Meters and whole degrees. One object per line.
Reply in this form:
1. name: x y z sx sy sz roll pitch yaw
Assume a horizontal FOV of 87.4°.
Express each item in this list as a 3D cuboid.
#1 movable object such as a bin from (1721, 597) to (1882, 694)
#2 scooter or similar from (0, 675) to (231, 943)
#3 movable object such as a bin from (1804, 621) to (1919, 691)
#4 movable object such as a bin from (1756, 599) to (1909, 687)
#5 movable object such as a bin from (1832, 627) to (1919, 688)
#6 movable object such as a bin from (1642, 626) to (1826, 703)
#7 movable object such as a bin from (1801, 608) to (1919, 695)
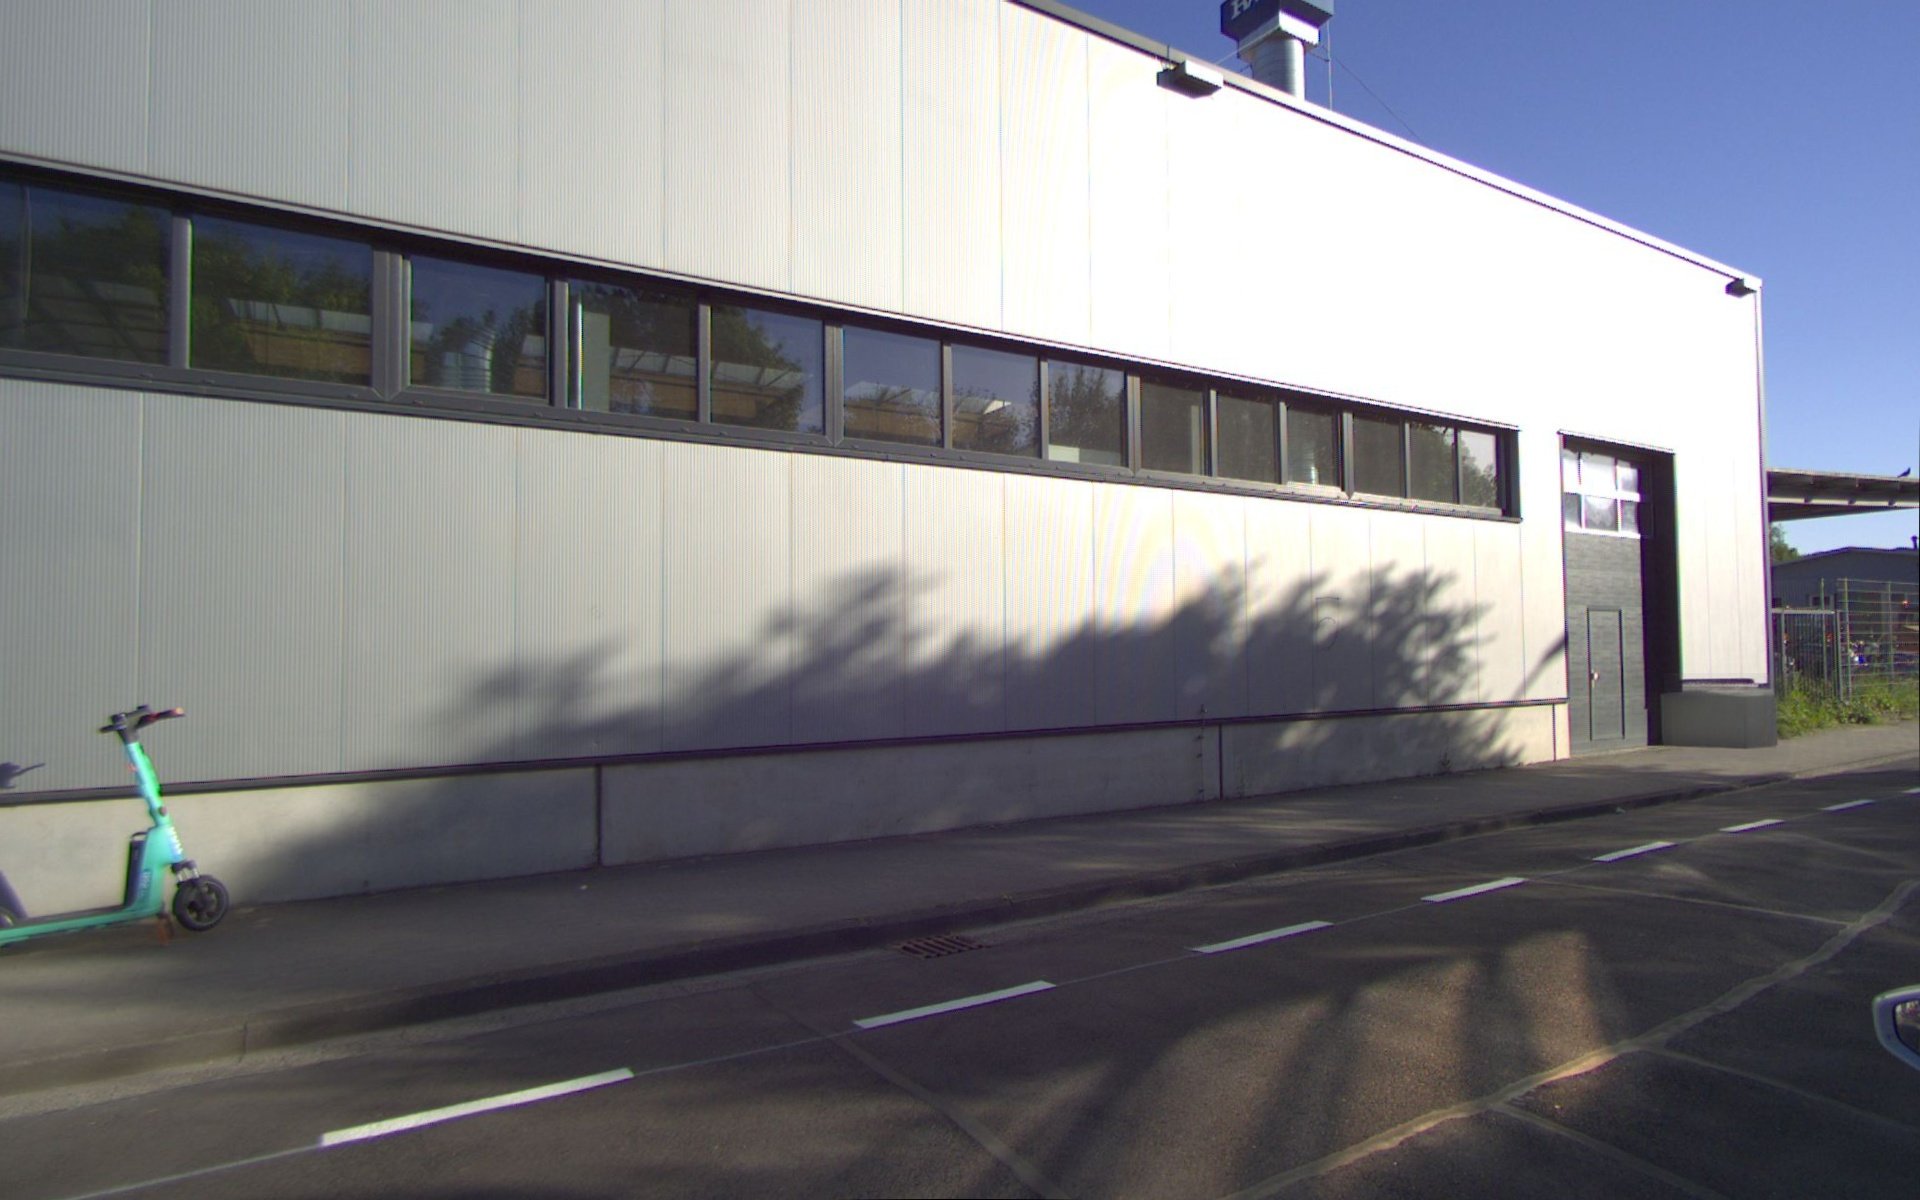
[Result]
1. movable object such as a bin: 20.155 1.082 24.188 1.493 2.193 2.773 -1 -2 0
2. scooter or similar: -4.533 1.056 5.306 1.047 1.284 0.414 1 -2 -31
3. movable object such as a bin: 25.643 1.540 27.898 1.508 1.859 3.024 0 -2 -31
4. movable object such as a bin: 22.591 1.109 26.125 1.358 2.154 2.799 -1 -2 -5
5. movable object such as a bin: 27.128 1.637 28.979 1.508 1.702 2.624 0 -2 -31
6. movable object such as a bin: 17.718 1.440 23.200 1.594 1.634 3.406 -1 -2 0
7. movable object such as a bin: 24.176 1.327 26.483 1.470 2.177 2.889 -1 -2 -3
